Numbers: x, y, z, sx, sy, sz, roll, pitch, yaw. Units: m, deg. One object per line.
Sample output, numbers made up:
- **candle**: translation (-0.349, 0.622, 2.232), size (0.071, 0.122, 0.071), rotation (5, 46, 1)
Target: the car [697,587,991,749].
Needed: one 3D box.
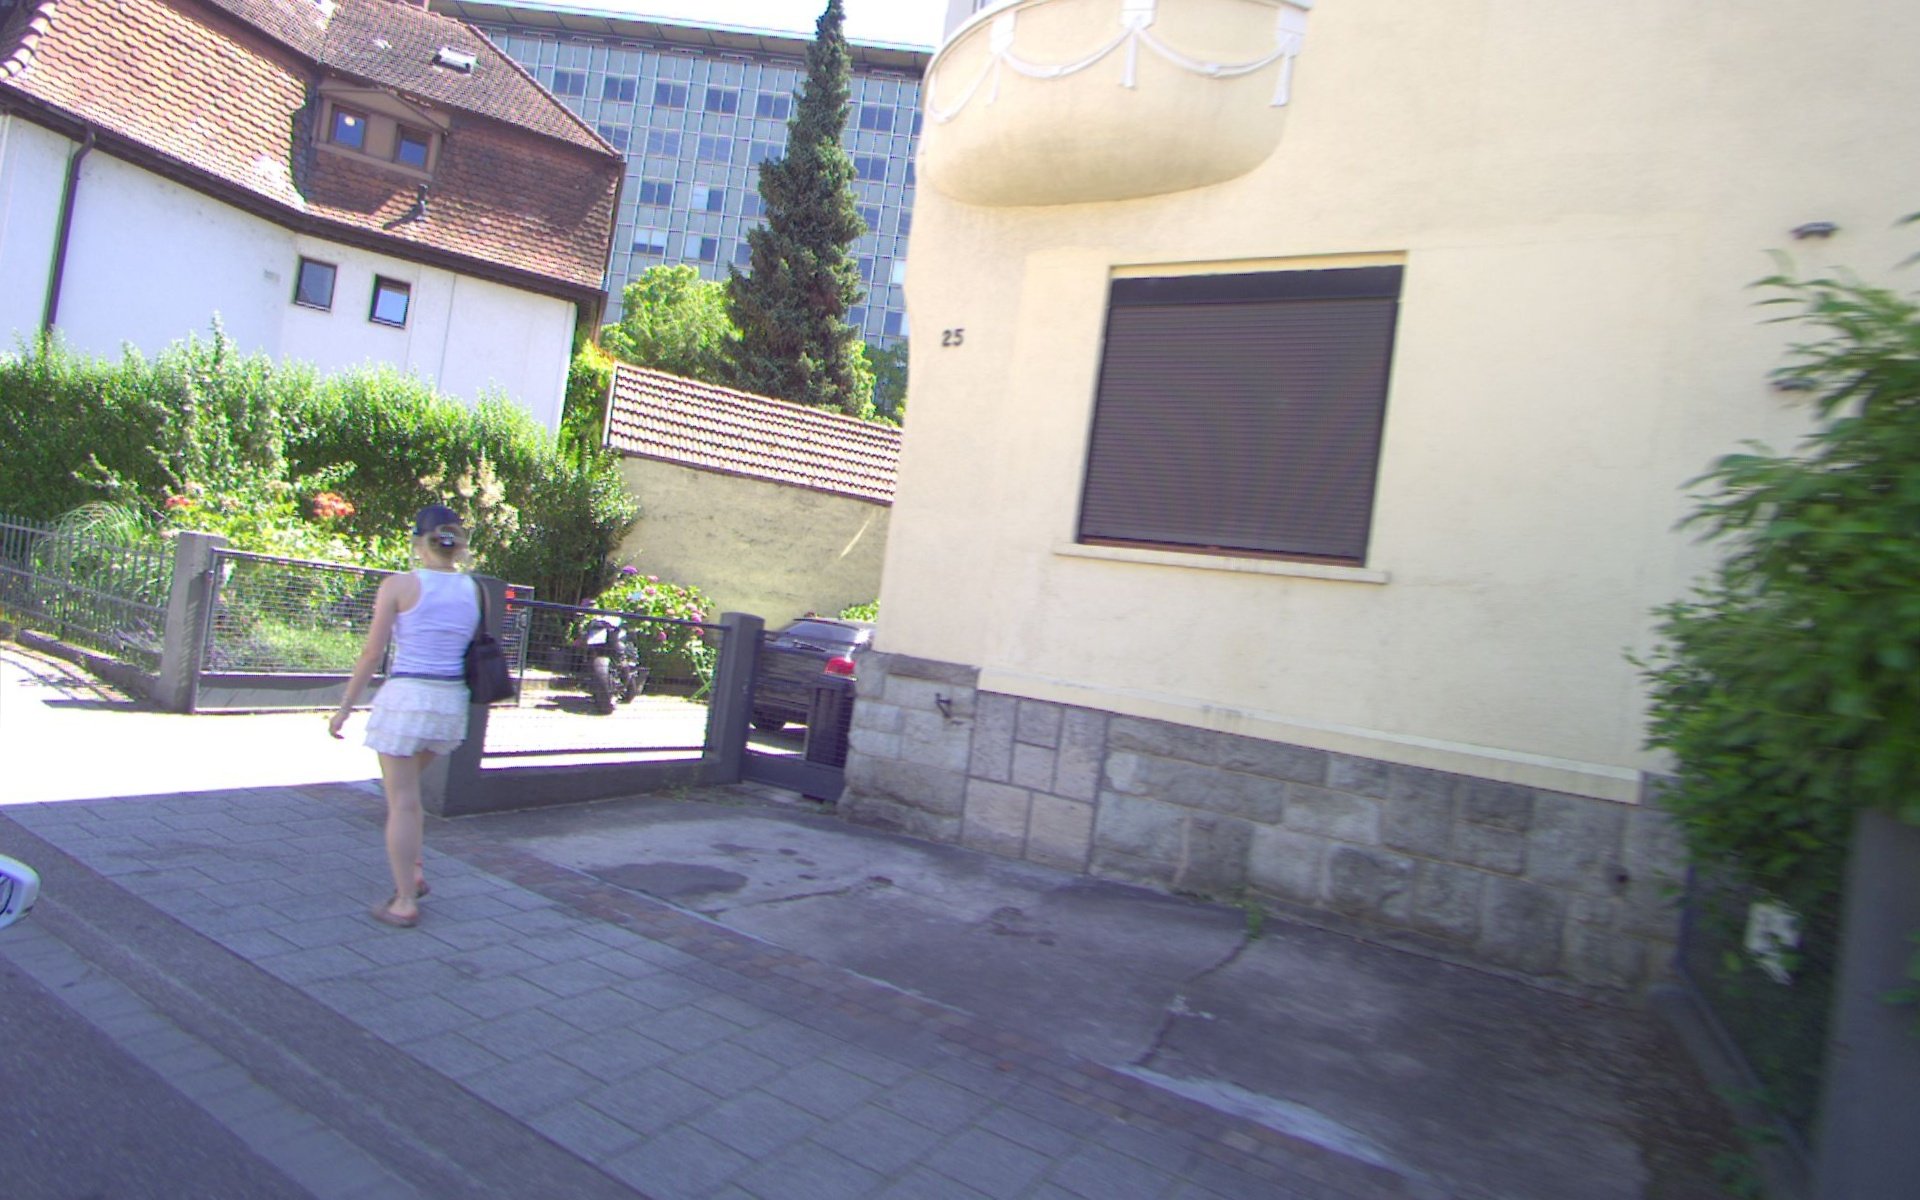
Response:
- **car**: translation (-1.238, 0.856, 12.061), size (1.738, 1.502, 3.335), rotation (6, -3, 30)

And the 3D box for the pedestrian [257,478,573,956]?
- **pedestrian**: translation (-2.152, 0.417, 4.004), size (0.758, 1.663, 0.625), rotation (7, -1, 27)
